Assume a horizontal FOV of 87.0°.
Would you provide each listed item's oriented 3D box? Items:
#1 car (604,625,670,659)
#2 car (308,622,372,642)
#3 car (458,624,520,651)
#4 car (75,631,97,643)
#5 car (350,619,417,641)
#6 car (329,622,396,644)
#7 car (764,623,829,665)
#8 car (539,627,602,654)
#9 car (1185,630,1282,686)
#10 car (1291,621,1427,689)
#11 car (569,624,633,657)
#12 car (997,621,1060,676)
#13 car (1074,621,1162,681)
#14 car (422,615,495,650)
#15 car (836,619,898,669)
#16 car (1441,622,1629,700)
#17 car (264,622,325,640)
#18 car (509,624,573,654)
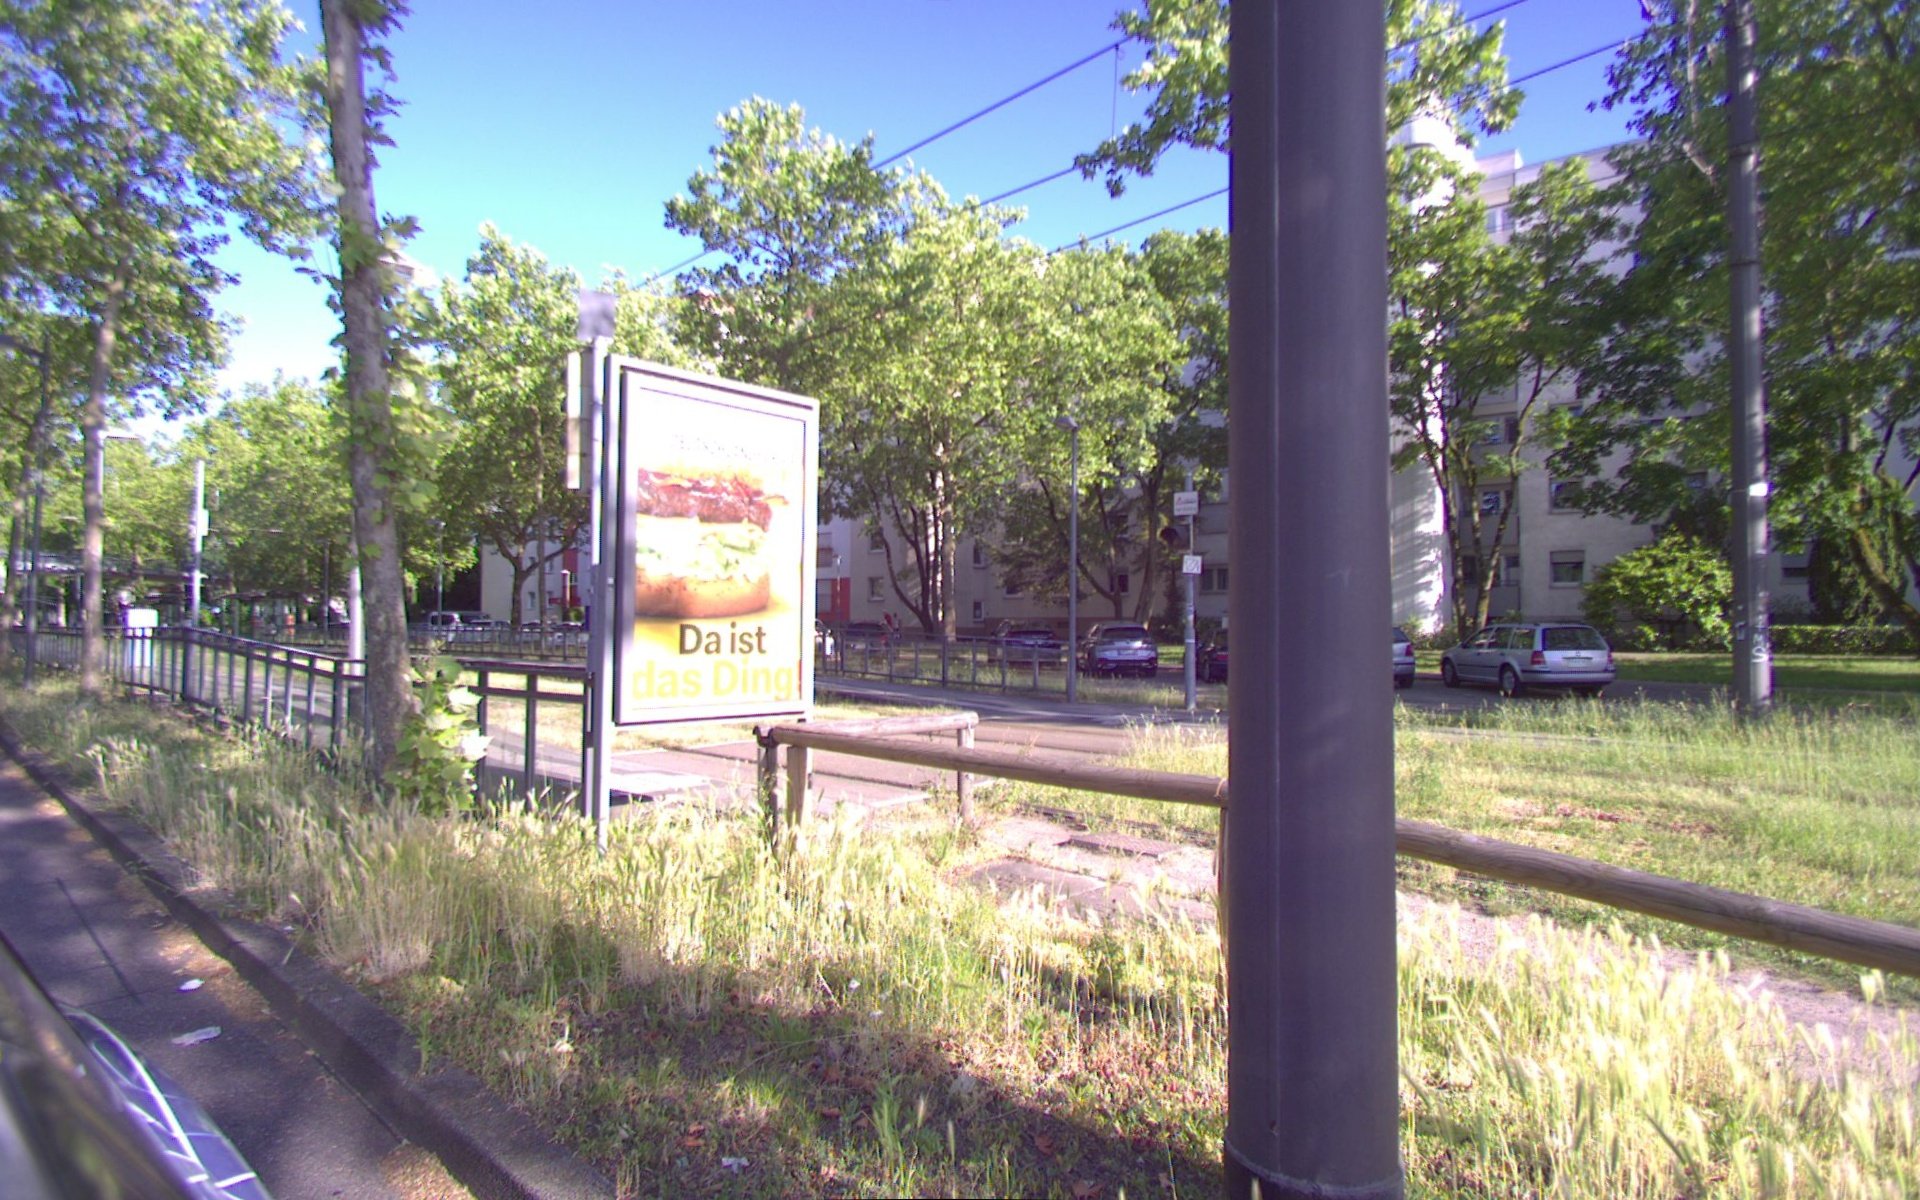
[{"bbox_3d":[-14.083,1.815,44.284,1.627,1.403,3.679,0,-1,2],"label":"car"},{"bbox_3d":[-44.643,2.274,72.989,1.898,1.386,4.365,0,-1,1],"label":"car"},{"bbox_3d":[-25.798,2.029,55.523,1.627,1.407,3.680,0,-1,1],"label":"car"},{"bbox_3d":[-108.948,4.606,126.198,3.294,1.370,1.651,-1,-2,41],"label":"car"},{"bbox_3d":[-37.896,1.969,66.625,1.898,1.386,4.365,0,-1,1],"label":"car"},{"bbox_3d":[-40.282,2.197,68.396,1.898,1.386,4.365,0,-1,1],"label":"car"},{"bbox_3d":[-5.909,1.567,36.921,1.664,1.444,3.679,0,-1,2],"label":"car"},{"bbox_3d":[-19.046,1.975,49.670,1.627,1.251,3.680,0,-1,1],"label":"car"},{"bbox_3d":[6.729,1.398,25.210,1.602,1.256,3.677,0,-1,4],"label":"car"},{"bbox_3d":[9.152,1.217,23.530,1.679,1.444,3.681,0,-1,1],"label":"car"},{"bbox_3d":[-16.682,1.838,47.140,1.627,1.460,3.680,0,-1,1],"label":"car"},{"bbox_3d":[1.933,1.364,29.449,1.664,1.482,3.680,0,-1,1],"label":"car"},{"bbox_3d":[4.206,1.343,27.496,1.894,1.507,3.680,0,-1,2],"label":"car"},{"bbox_3d":[-28.326,1.820,57.332,1.898,1.898,4.365,0,-1,1],"label":"car"},{"bbox_3d":[-3.108,1.455,34.471,1.664,1.579,3.679,0,-1,2],"label":"car"},{"bbox_3d":[11.547,1.174,20.631,1.707,1.444,3.681,0,-1,1],"label":"car"},{"bbox_3d":[-52.145,2.397,79.370,1.898,1.386,4.365,0,-1,1],"label":"car"},{"bbox_3d":[-21.123,1.954,51.138,1.627,1.460,3.680,0,-1,1],"label":"car"}]
